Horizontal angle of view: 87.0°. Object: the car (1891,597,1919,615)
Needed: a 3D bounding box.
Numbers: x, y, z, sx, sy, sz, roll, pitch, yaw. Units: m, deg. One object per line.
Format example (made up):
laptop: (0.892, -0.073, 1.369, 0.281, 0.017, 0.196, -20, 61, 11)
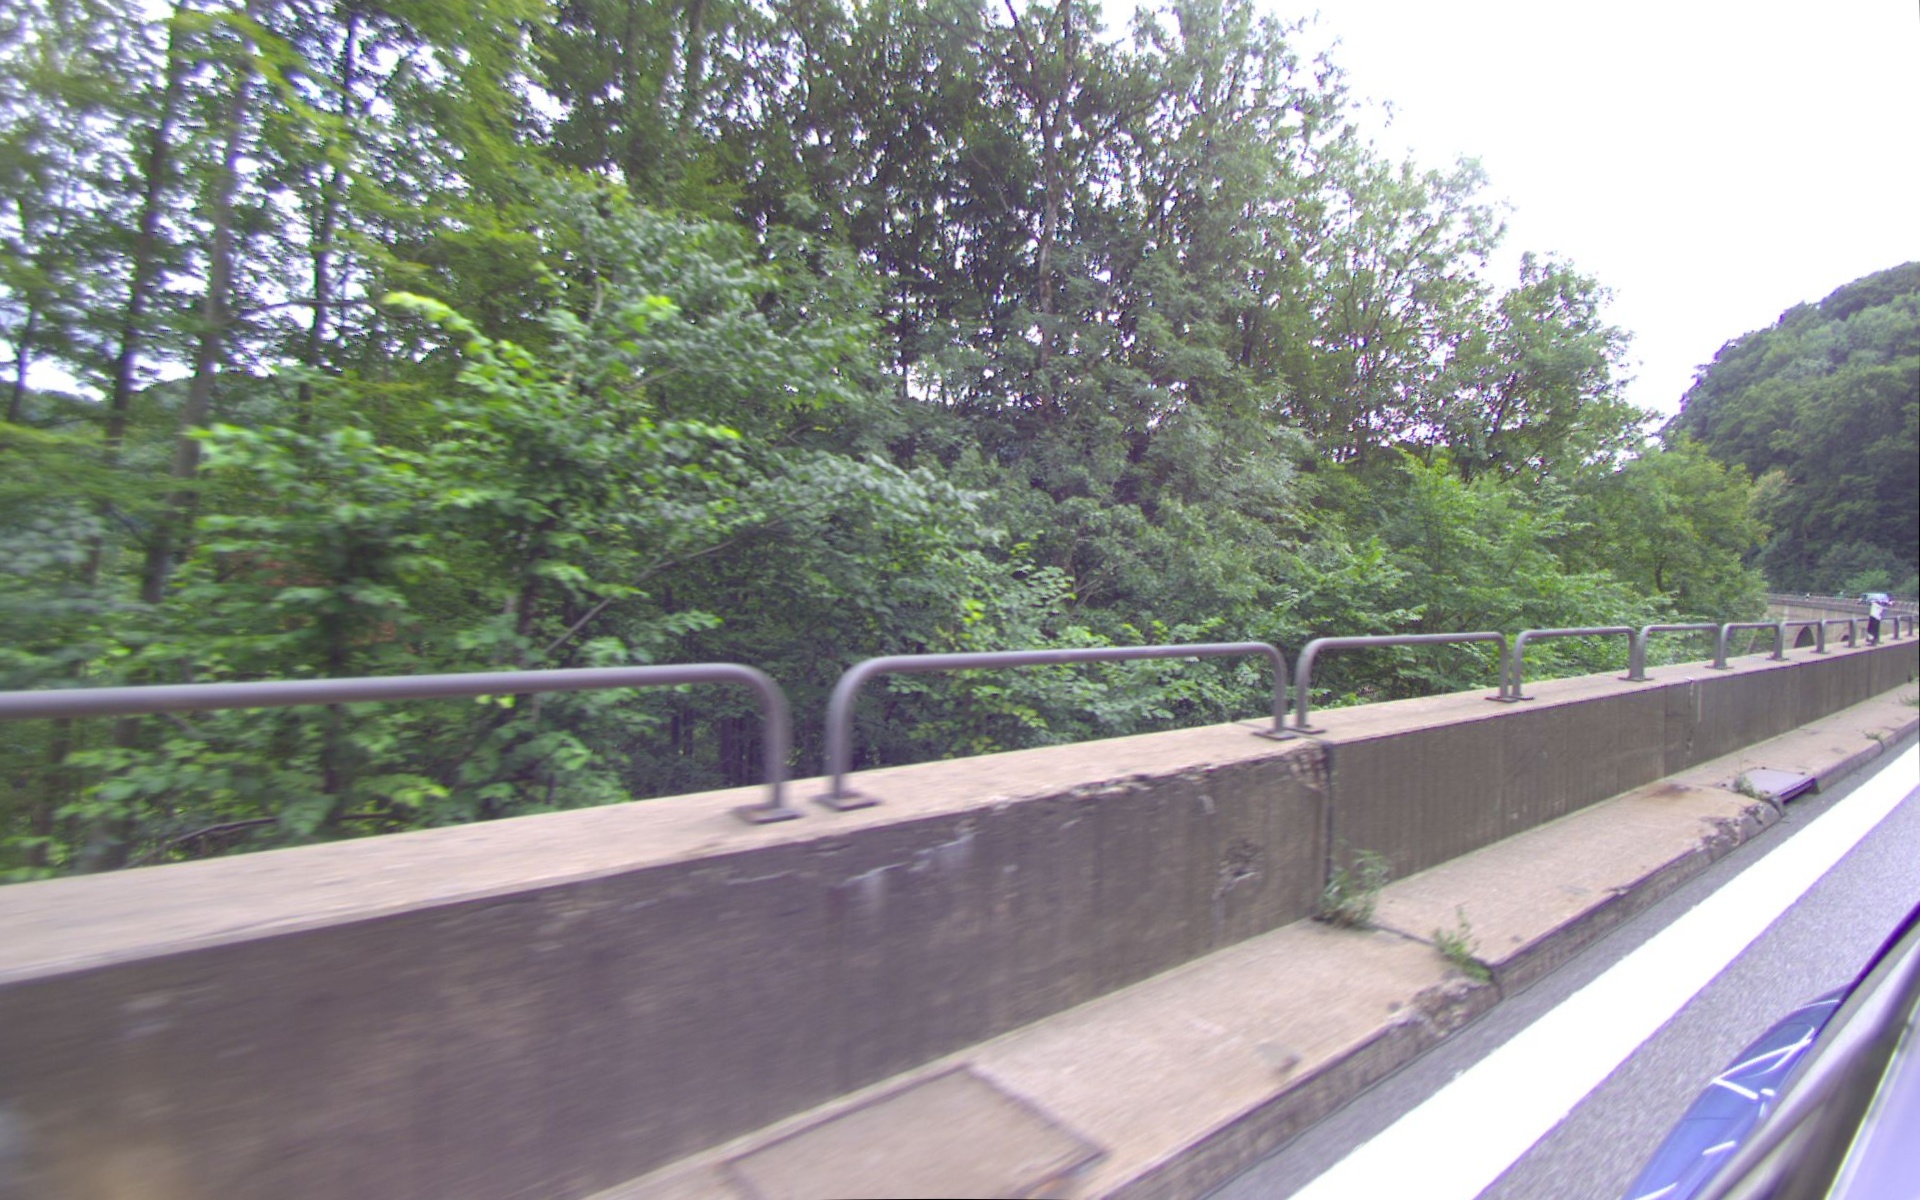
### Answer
car: (76.951, 0.508, 81.786, 1.875, 1.335, 3.954, 0, 1, 33)
